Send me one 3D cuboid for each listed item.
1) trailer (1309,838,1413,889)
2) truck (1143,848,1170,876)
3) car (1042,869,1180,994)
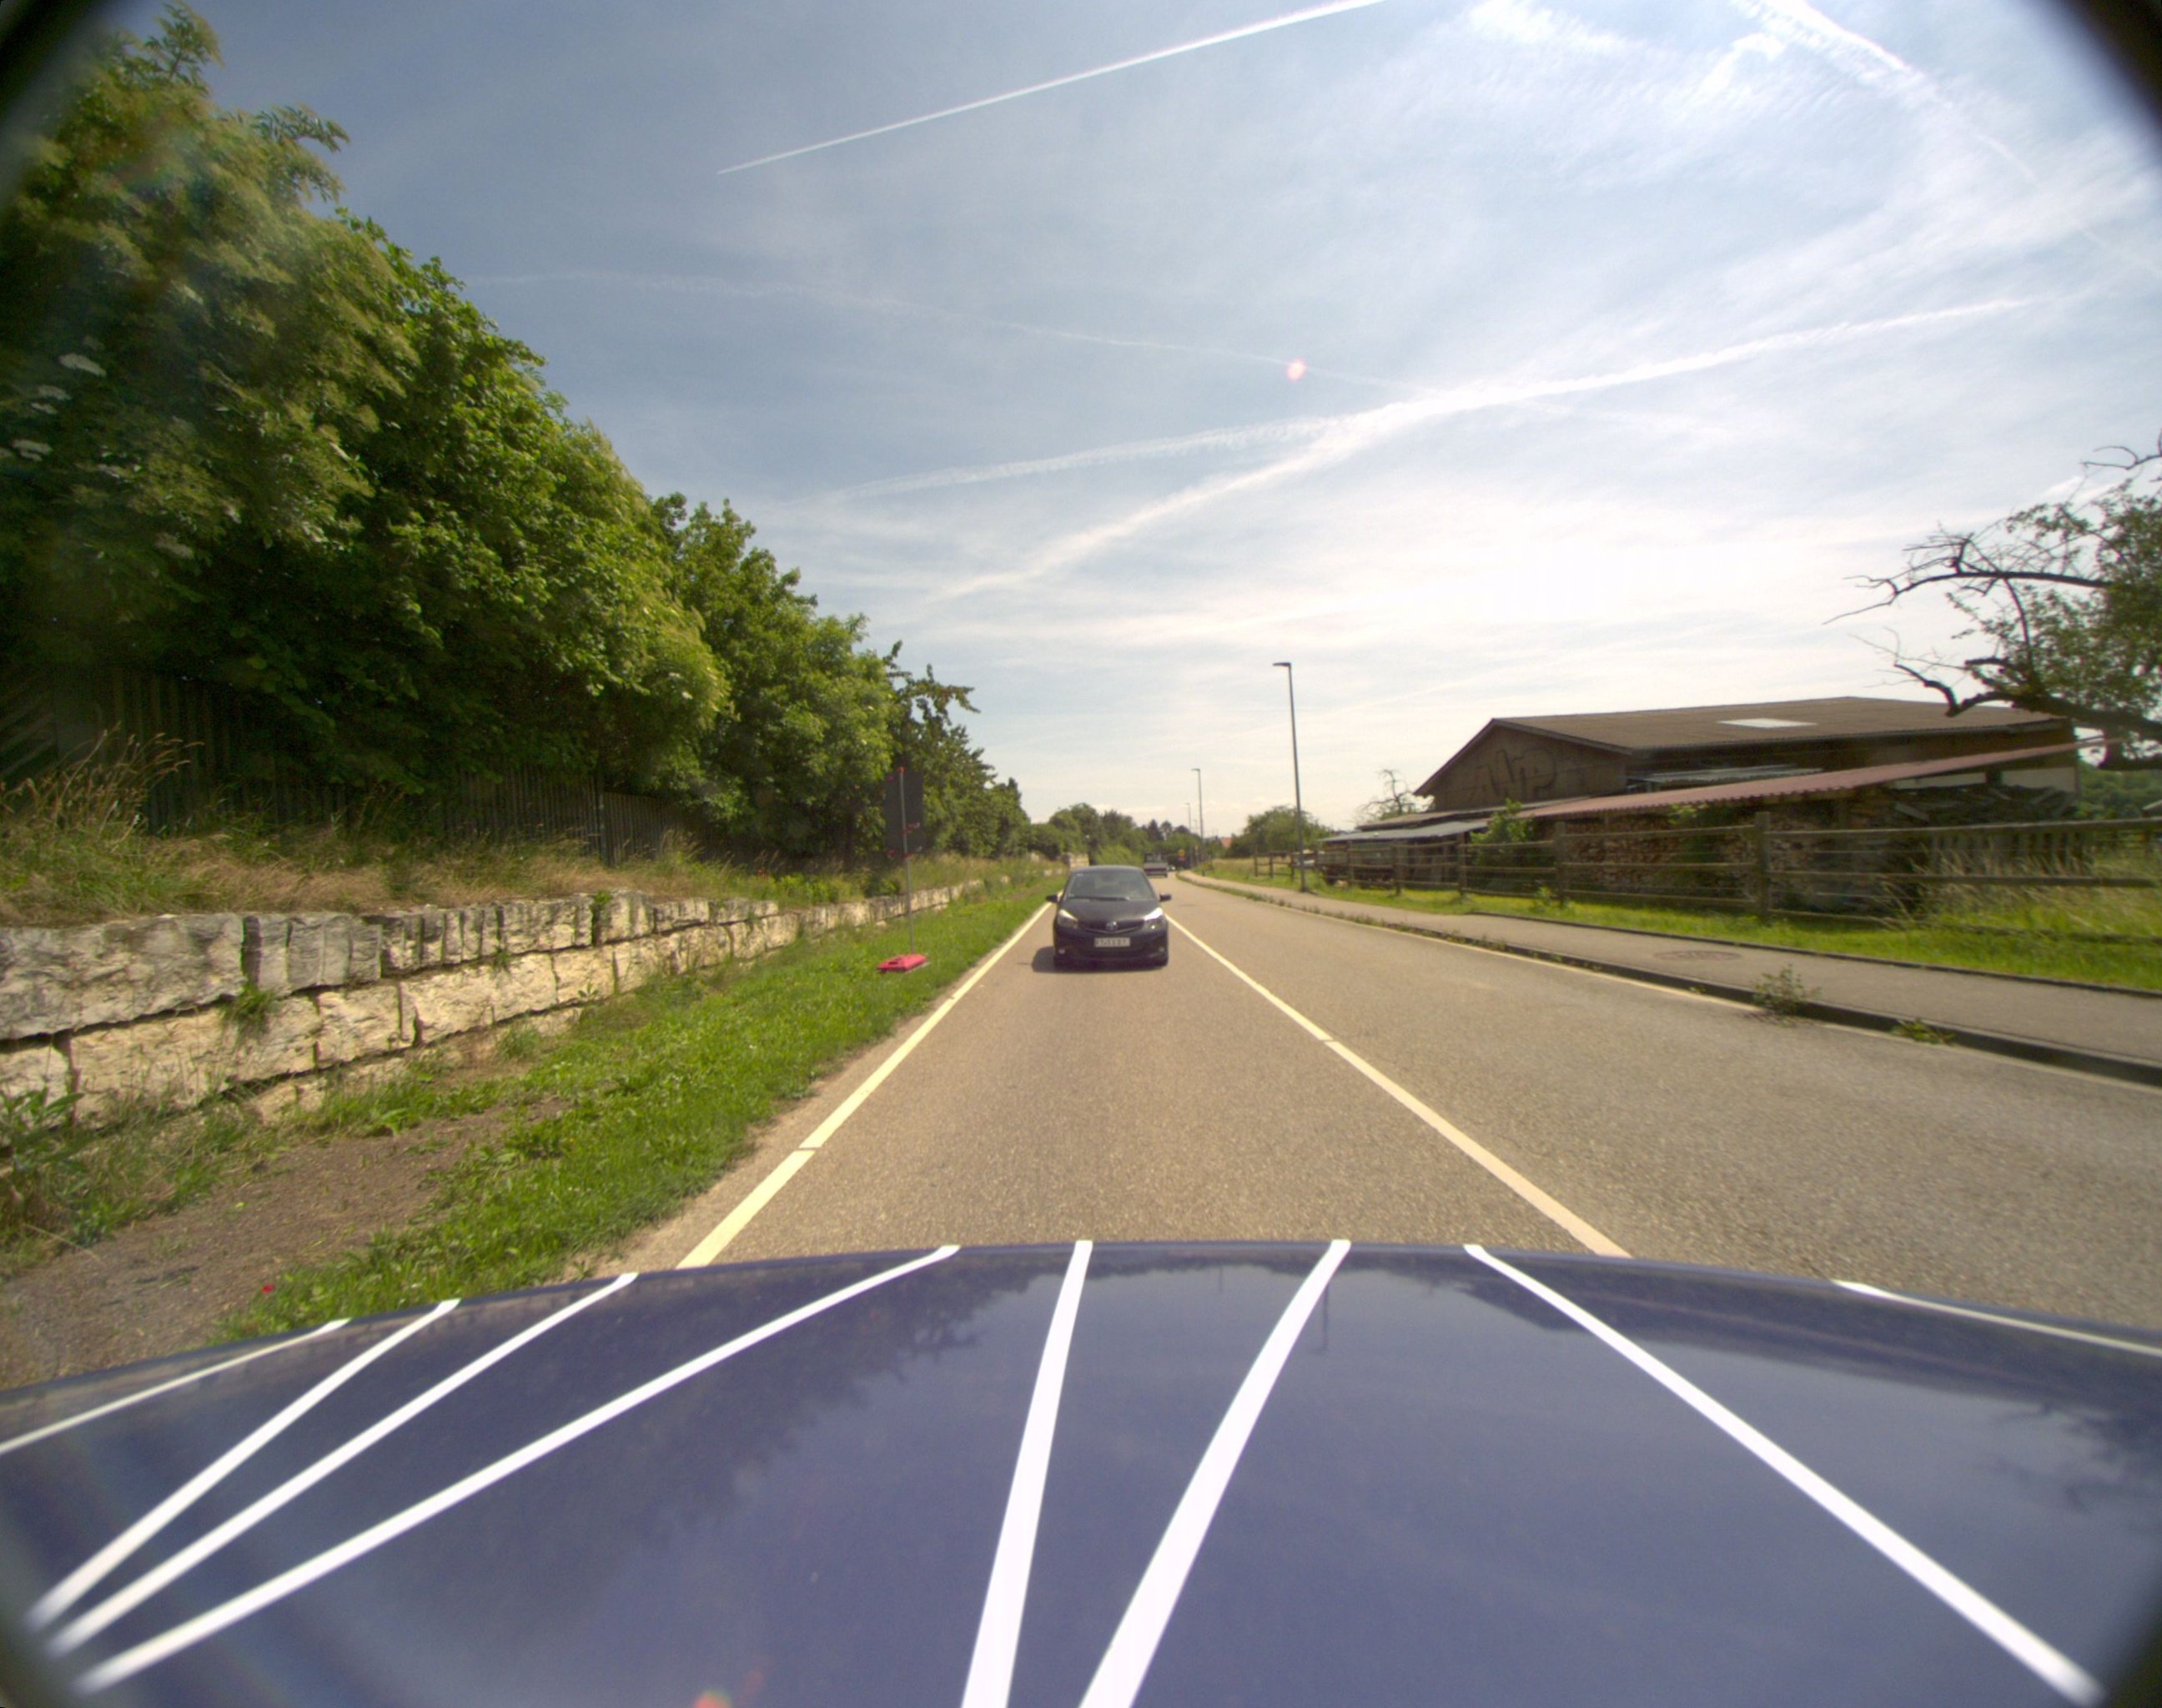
[{"bbox_3d":[10.458,0.330,28.812,2.160,1.693,5.029,-2,0,1],"label":"trailer"},{"bbox_3d":[6.796,0.687,68.115,2.227,2.280,6.494,-2,0,6],"label":"truck"},{"bbox_3d":[0.441,1.001,11.573,1.677,1.456,4.433,-1,0,2],"label":"car"}]
